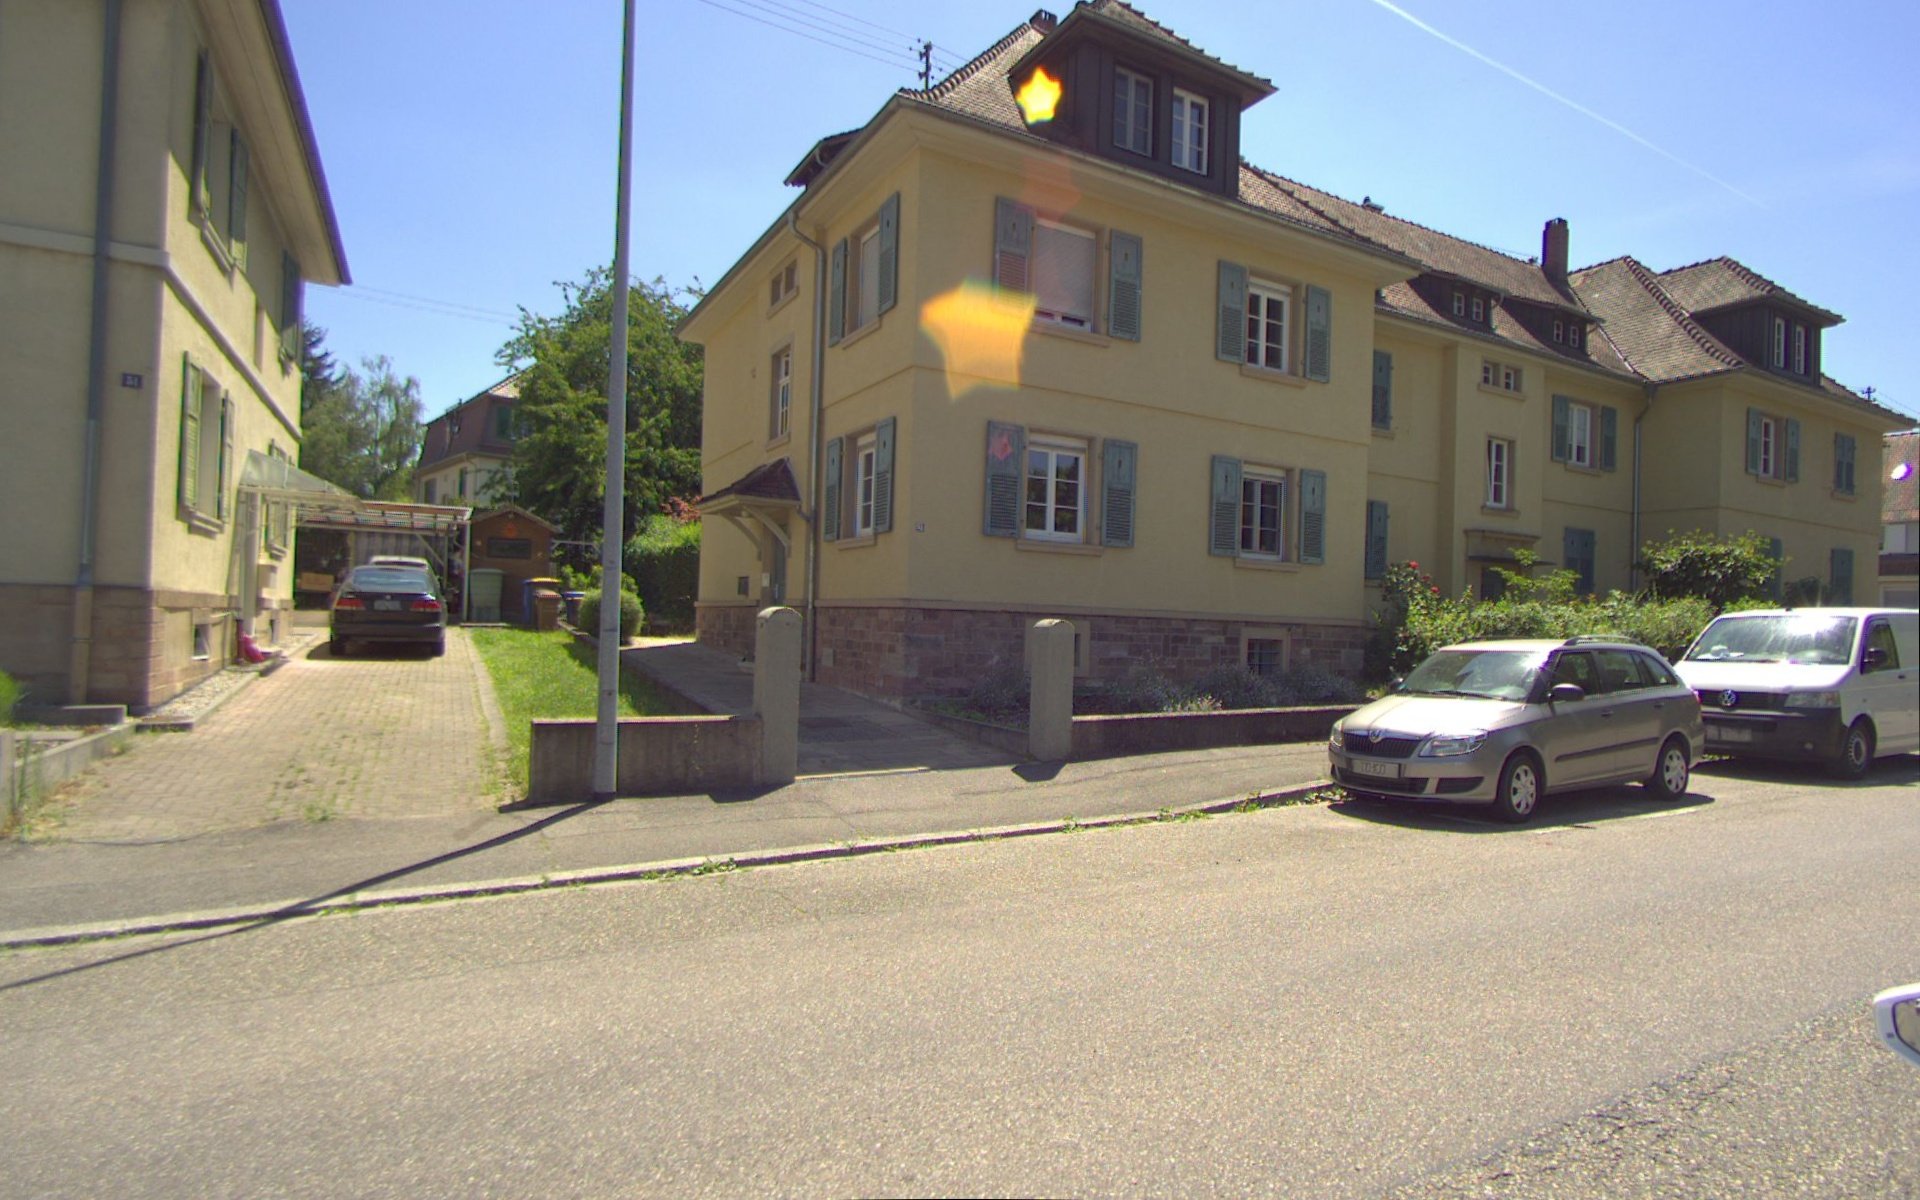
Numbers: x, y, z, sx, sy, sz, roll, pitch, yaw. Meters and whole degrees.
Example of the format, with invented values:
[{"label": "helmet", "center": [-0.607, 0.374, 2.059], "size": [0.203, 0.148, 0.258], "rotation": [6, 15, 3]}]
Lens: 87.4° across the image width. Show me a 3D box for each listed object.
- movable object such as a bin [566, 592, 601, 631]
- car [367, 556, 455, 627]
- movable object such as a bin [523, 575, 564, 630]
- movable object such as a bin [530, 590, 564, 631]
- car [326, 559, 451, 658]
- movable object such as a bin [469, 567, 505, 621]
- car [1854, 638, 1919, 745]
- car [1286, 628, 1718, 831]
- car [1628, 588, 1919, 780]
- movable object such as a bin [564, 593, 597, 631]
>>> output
[{"label": "movable object such as a bin", "center": [-8.689, 0.270, 23.171], "size": [0.660, 0.875, 0.618], "rotation": [2, -1, -27]}, {"label": "car", "center": [-12.796, -0.205, 23.327], "size": [1.646, 1.483, 3.576], "rotation": [2, 0, -31]}, {"label": "movable object such as a bin", "center": [-9.840, 0.066, 23.727], "size": [0.822, 1.247, 0.841], "rotation": [2, -1, -27]}, {"label": "movable object such as a bin", "center": [-9.303, 0.240, 22.618], "size": [0.660, 0.875, 0.618], "rotation": [2, -1, -27]}, {"label": "car", "center": [-9.681, 0.126, 17.004], "size": [1.646, 1.483, 3.677], "rotation": [2, 0, -31]}, {"label": "movable object such as a bin", "center": [-11.236, -0.126, 23.878], "size": [0.712, 1.247, 0.775], "rotation": [2, -1, -25]}, {"label": "car", "center": [15.195, 1.346, 15.059], "size": [3.436, 1.512, 1.659], "rotation": [2, -2, -29]}, {"label": "car", "center": [5.128, 1.078, 9.407], "size": [4.014, 1.545, 1.679], "rotation": [2, -3, -30]}, {"label": "car", "center": [10.458, 0.973, 12.369], "size": [4.571, 1.989, 1.870], "rotation": [2, -3, -30]}, {"label": "movable object such as a bin", "center": [-9.018, 0.278, 23.863], "size": [0.660, 0.875, 0.618], "rotation": [2, -1, -27]}]
